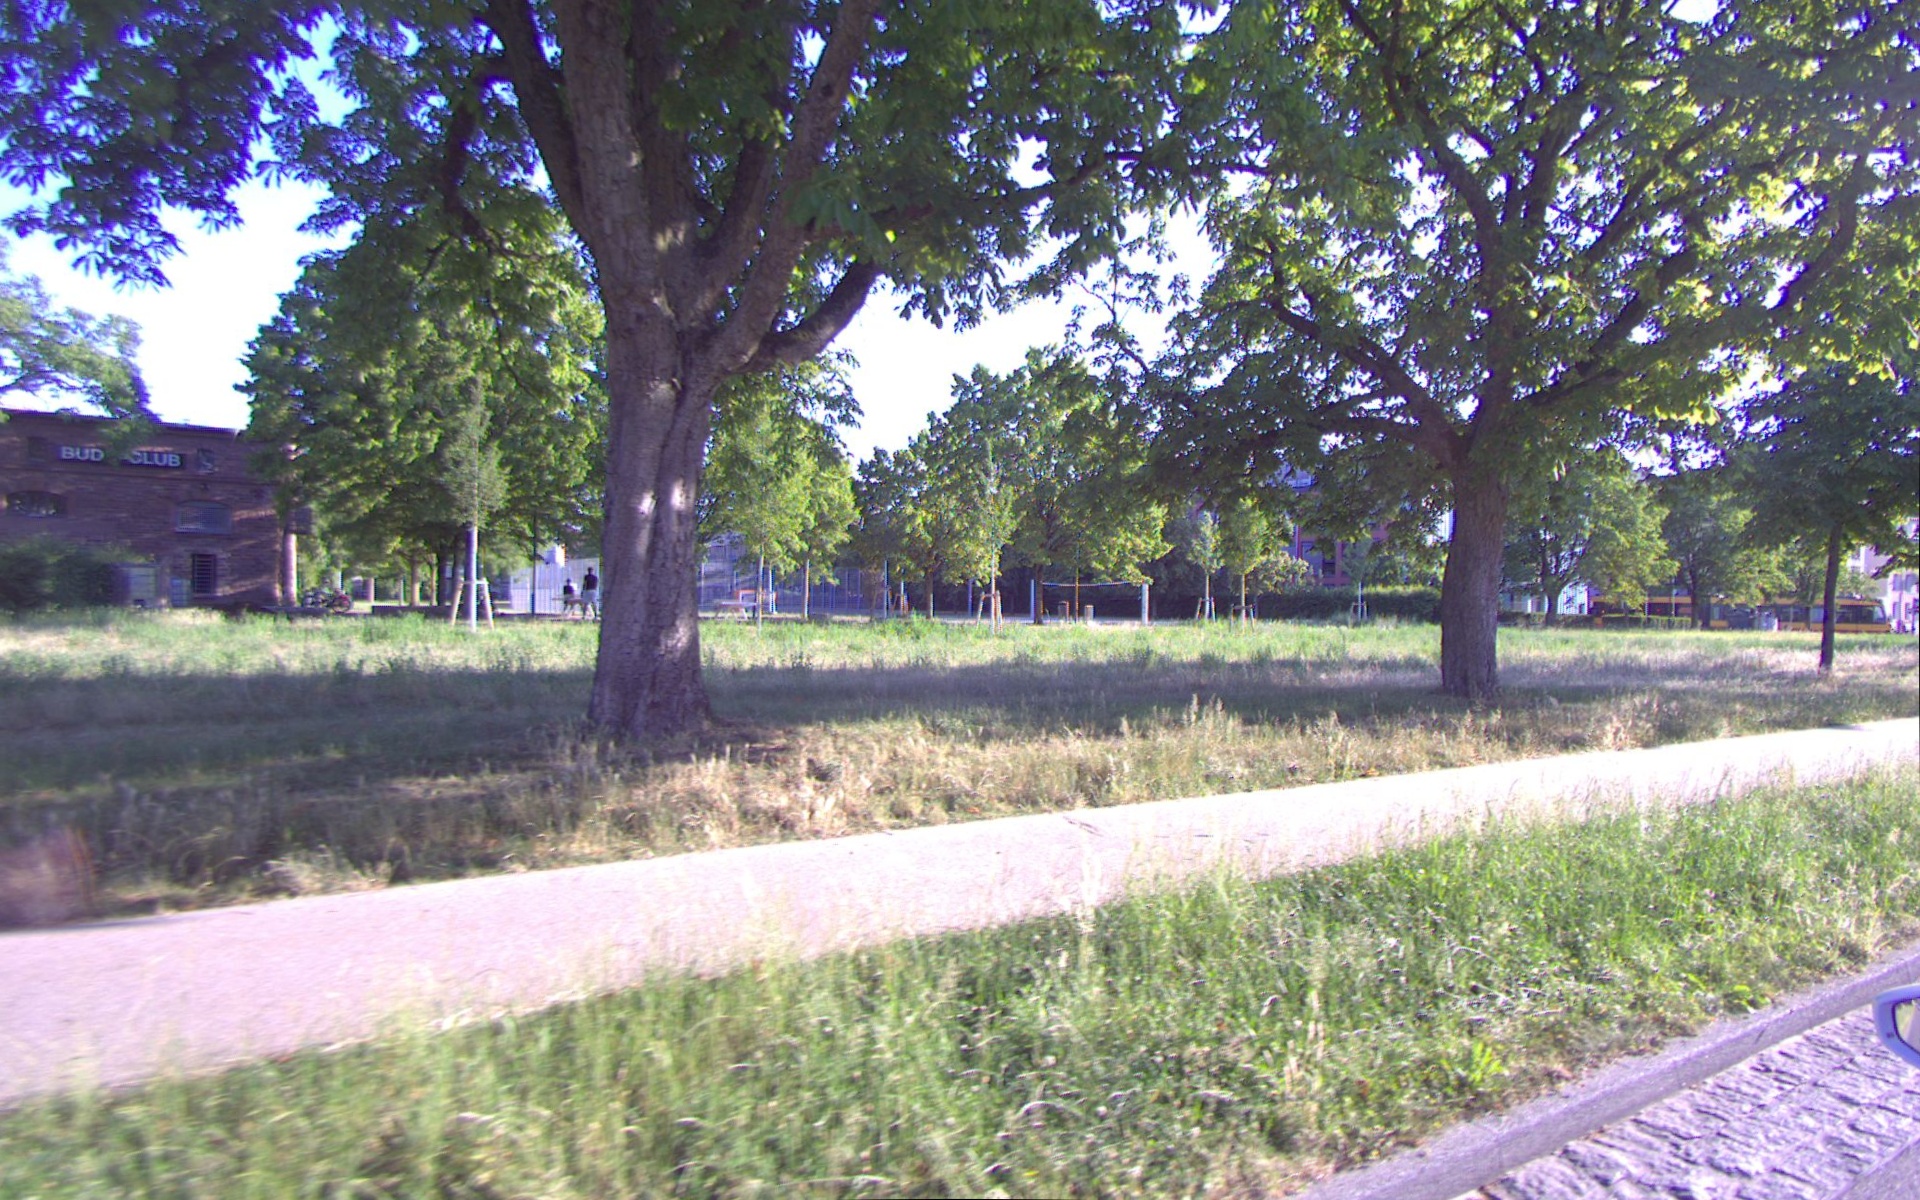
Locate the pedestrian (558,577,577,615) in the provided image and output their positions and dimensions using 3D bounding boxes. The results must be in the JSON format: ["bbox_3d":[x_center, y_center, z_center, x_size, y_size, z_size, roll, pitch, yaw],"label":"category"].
[{"bbox_3d":[-15.701,-0.151,40.200,0.497,1.498,0.583,1,1,-40],"label":"pedestrian"}]

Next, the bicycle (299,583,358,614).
[{"bbox_3d":[-27.202,-0.067,43.307,2.123,1.287,0.681,1,1,-29],"label":"bicycle"}]

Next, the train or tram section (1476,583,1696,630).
[{"bbox_3d":[63.511,0.514,102.977,3.613,4.009,18.916,1,1,-39],"label":"train or tram section"}]

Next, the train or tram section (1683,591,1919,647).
[{"bbox_3d":[75.557,1.596,87.900,3.612,4.009,19.622,2,1,-39],"label":"train or tram section"}]

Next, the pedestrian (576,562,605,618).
[{"bbox_3d":[-13.016,-0.354,35.398,0.788,1.906,1.044,2,1,-28],"label":"pedestrian"}]
